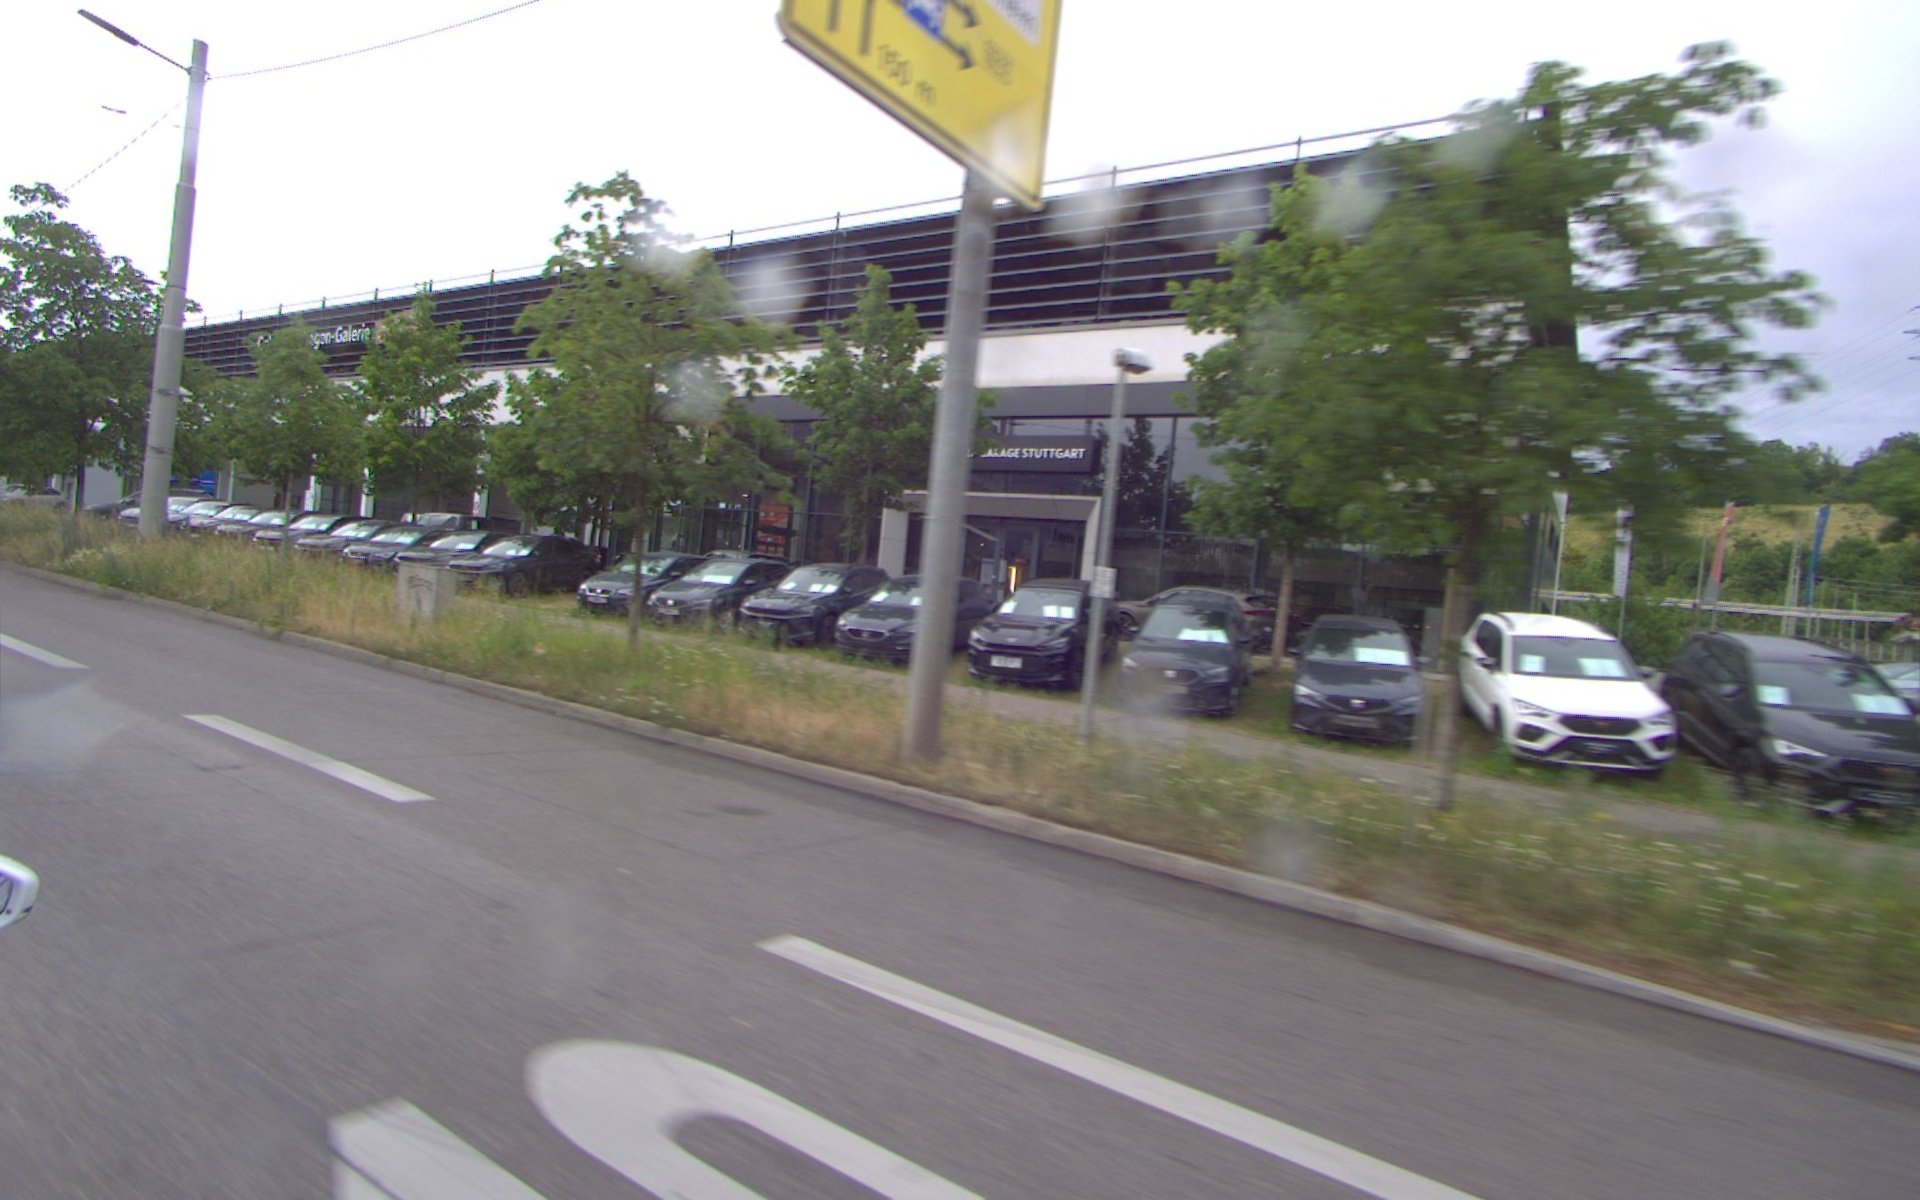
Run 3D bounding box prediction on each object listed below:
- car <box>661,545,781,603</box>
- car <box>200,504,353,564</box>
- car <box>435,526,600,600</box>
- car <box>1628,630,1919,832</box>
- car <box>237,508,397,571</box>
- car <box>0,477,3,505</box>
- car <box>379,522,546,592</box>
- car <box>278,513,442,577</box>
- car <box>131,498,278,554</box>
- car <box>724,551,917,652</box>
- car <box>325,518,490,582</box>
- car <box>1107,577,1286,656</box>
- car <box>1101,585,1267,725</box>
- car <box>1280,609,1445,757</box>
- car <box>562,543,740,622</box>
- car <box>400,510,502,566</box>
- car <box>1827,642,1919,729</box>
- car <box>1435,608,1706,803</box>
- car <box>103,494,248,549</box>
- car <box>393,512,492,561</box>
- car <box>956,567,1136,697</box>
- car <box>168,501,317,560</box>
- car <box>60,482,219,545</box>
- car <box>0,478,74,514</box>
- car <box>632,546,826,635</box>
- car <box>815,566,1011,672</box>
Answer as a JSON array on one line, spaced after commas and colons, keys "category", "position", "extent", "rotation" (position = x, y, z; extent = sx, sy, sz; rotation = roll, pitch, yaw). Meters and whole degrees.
[{"category": "car", "position": [-8.179, -0.889, 34.300], "extent": [3.835, 1.491, 1.666], "rotation": [7, 1, 32]}, {"category": "car", "position": [-22.690, -2.140, 33.586], "extent": [1.792, 1.590, 4.151], "rotation": [6, 1, 9]}, {"category": "car", "position": [-11.303, -0.880, 26.009], "extent": [1.700, 1.597, 4.055], "rotation": [6, 1, 14]}, {"category": "car", "position": [9.949, 1.394, 12.225], "extent": [1.844, 1.813, 4.387], "rotation": [6, 1, 19]}, {"category": "car", "position": [-20.324, -1.872, 32.037], "extent": [1.873, 1.590, 4.151], "rotation": [6, 1, 10]}, {"category": "car", "position": [-56.454, -6.358, 56.412], "extent": [1.766, 1.589, 4.096], "rotation": [5, 1, -3]}, {"category": "car", "position": [-13.500, -1.109, 27.584], "extent": [1.760, 1.554, 4.151], "rotation": [6, 1, 14]}, {"category": "car", "position": [-18.074, -1.619, 30.523], "extent": [1.796, 1.548, 4.151], "rotation": [6, 1, 14]}, {"category": "car", "position": [-27.338, -2.642, 36.590], "extent": [1.834, 1.582, 4.151], "rotation": [6, 1, 7]}, {"category": "car", "position": [-2.684, 0.049, 20.575], "extent": [1.788, 1.685, 4.495], "rotation": [6, 1, 22]}, {"category": "car", "position": [-15.851, -1.384, 29.125], "extent": [1.760, 1.478, 4.151], "rotation": [6, 1, 14]}, {"category": "car", "position": [5.871, 0.403, 25.079], "extent": [3.835, 1.491, 1.781], "rotation": [7, 1, 32]}, {"category": "car", "position": [3.784, 0.799, 16.344], "extent": [1.788, 1.775, 4.495], "rotation": [6, 1, 21]}, {"category": "car", "position": [5.821, 1.072, 14.911], "extent": [1.787, 1.659, 4.496], "rotation": [6, 1, 19]}, {"category": "car", "position": [-6.970, -0.340, 23.154], "extent": [1.656, 1.521, 4.052], "rotation": [6, 1, 22]}, {"category": "car", "position": [-22.318, -2.740, 44.085], "extent": [4.357, 1.963, 1.888], "rotation": [7, 1, 32]}, {"category": "car", "position": [21.386, 2.032, 21.328], "extent": [4.236, 1.665, 1.844], "rotation": [7, 1, 0]}, {"category": "car", "position": [7.968, 1.202, 13.677], "extent": [1.787, 2.018, 4.498], "rotation": [6, 1, 15]}, {"category": "car", "position": [-29.661, -2.927, 38.220], "extent": [1.834, 1.634, 4.333], "rotation": [6, 1, 4]}, {"category": "car", "position": [-26.723, -3.256, 52.023], "extent": [1.913, 2.001, 4.029], "rotation": [7, 1, 32]}, {"category": "car", "position": [1.673, 0.522, 17.782], "extent": [1.788, 1.819, 4.495], "rotation": [6, 2, 21]}, {"category": "car", "position": [-24.964, -2.385, 35.204], "extent": [1.792, 1.626, 4.151], "rotation": [6, 1, 9]}, {"category": "car", "position": [-32.666, -3.438, 40.252], "extent": [4.672, 1.901, 1.808], "rotation": [5, 2, -34]}, {"category": "car", "position": [-48.401, -5.424, 51.844], "extent": [1.715, 1.484, 4.097], "rotation": [5, 1, 1]}, {"category": "car", "position": [-4.906, -0.162, 22.057], "extent": [1.788, 1.589, 4.495], "rotation": [6, 1, 22]}, {"category": "car", "position": [-0.741, 0.357, 19.286], "extent": [1.788, 1.640, 4.493], "rotation": [7, 2, 24]}]
